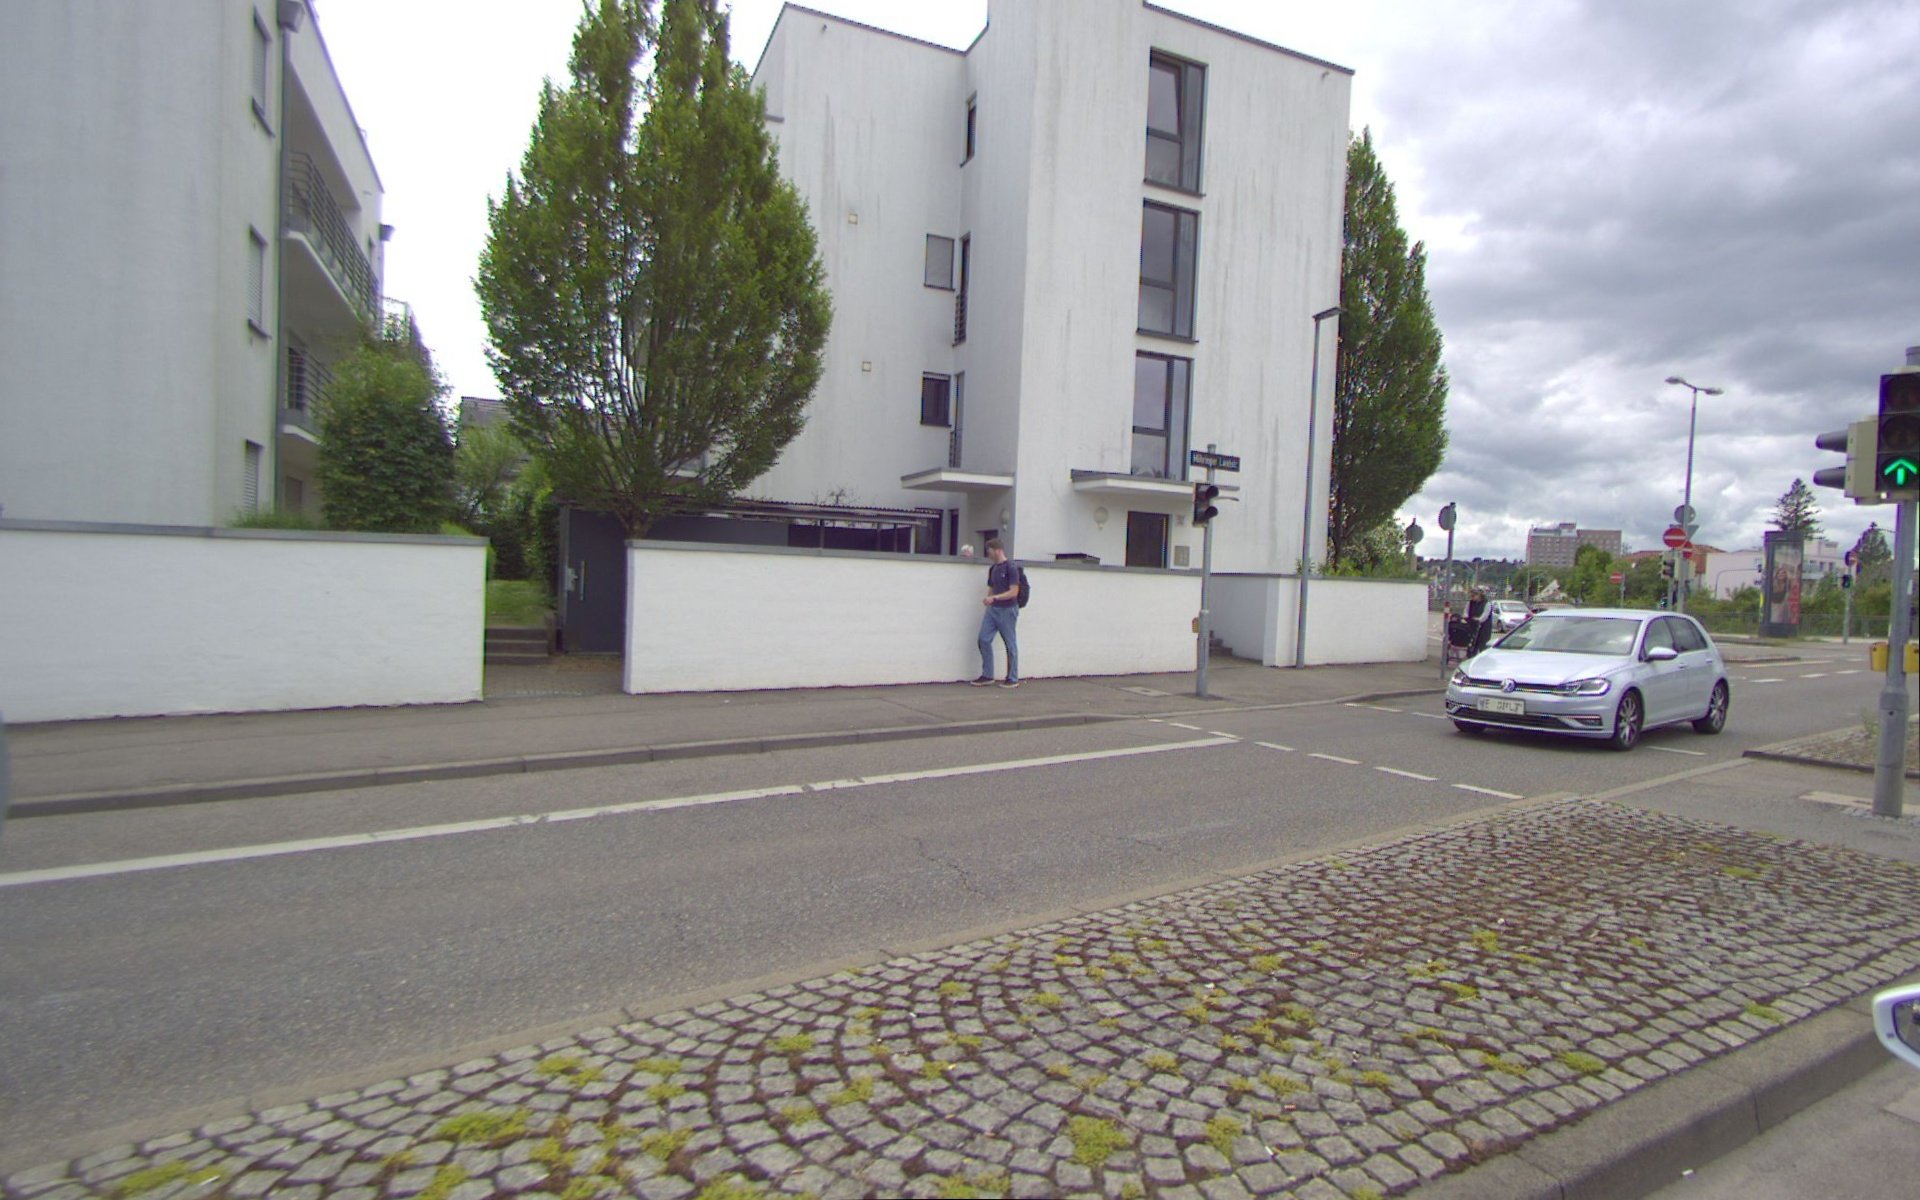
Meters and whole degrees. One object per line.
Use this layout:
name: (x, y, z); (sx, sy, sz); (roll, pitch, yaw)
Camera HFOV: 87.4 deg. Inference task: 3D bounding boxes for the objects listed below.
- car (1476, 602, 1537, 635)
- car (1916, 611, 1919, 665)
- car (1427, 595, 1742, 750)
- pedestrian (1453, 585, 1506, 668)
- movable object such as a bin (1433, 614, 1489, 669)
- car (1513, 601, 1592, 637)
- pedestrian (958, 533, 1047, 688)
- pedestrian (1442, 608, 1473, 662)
car: (27.117, 0.891, 49.928); (1.614, 1.555, 4.132); (1, 0, 14)
car: (26.697, 1.016, 26.356); (3.881, 1.409, 1.708); (1, 0, -37)
car: (7.335, 0.738, 11.696); (3.911, 1.463, 1.785); (1, 1, -37)
pedestrian: (10.250, 0.515, 19.821); (0.725, 1.563, 0.527); (0, 7, -37)
movable object such as a bin: (9.627, 0.790, 19.295); (0.977, 0.973, 0.493); (1, 6, -37)
car: (25.945, 0.819, 44.110); (1.739, 1.466, 3.705); (1, 0, 9)
pedestrian: (0.568, 0.128, 13.407); (0.863, 1.974, 0.644); (1, 4, -34)
pedestrian: (10.182, 0.709, 20.565); (0.440, 1.077, 0.323); (0, 5, -36)
